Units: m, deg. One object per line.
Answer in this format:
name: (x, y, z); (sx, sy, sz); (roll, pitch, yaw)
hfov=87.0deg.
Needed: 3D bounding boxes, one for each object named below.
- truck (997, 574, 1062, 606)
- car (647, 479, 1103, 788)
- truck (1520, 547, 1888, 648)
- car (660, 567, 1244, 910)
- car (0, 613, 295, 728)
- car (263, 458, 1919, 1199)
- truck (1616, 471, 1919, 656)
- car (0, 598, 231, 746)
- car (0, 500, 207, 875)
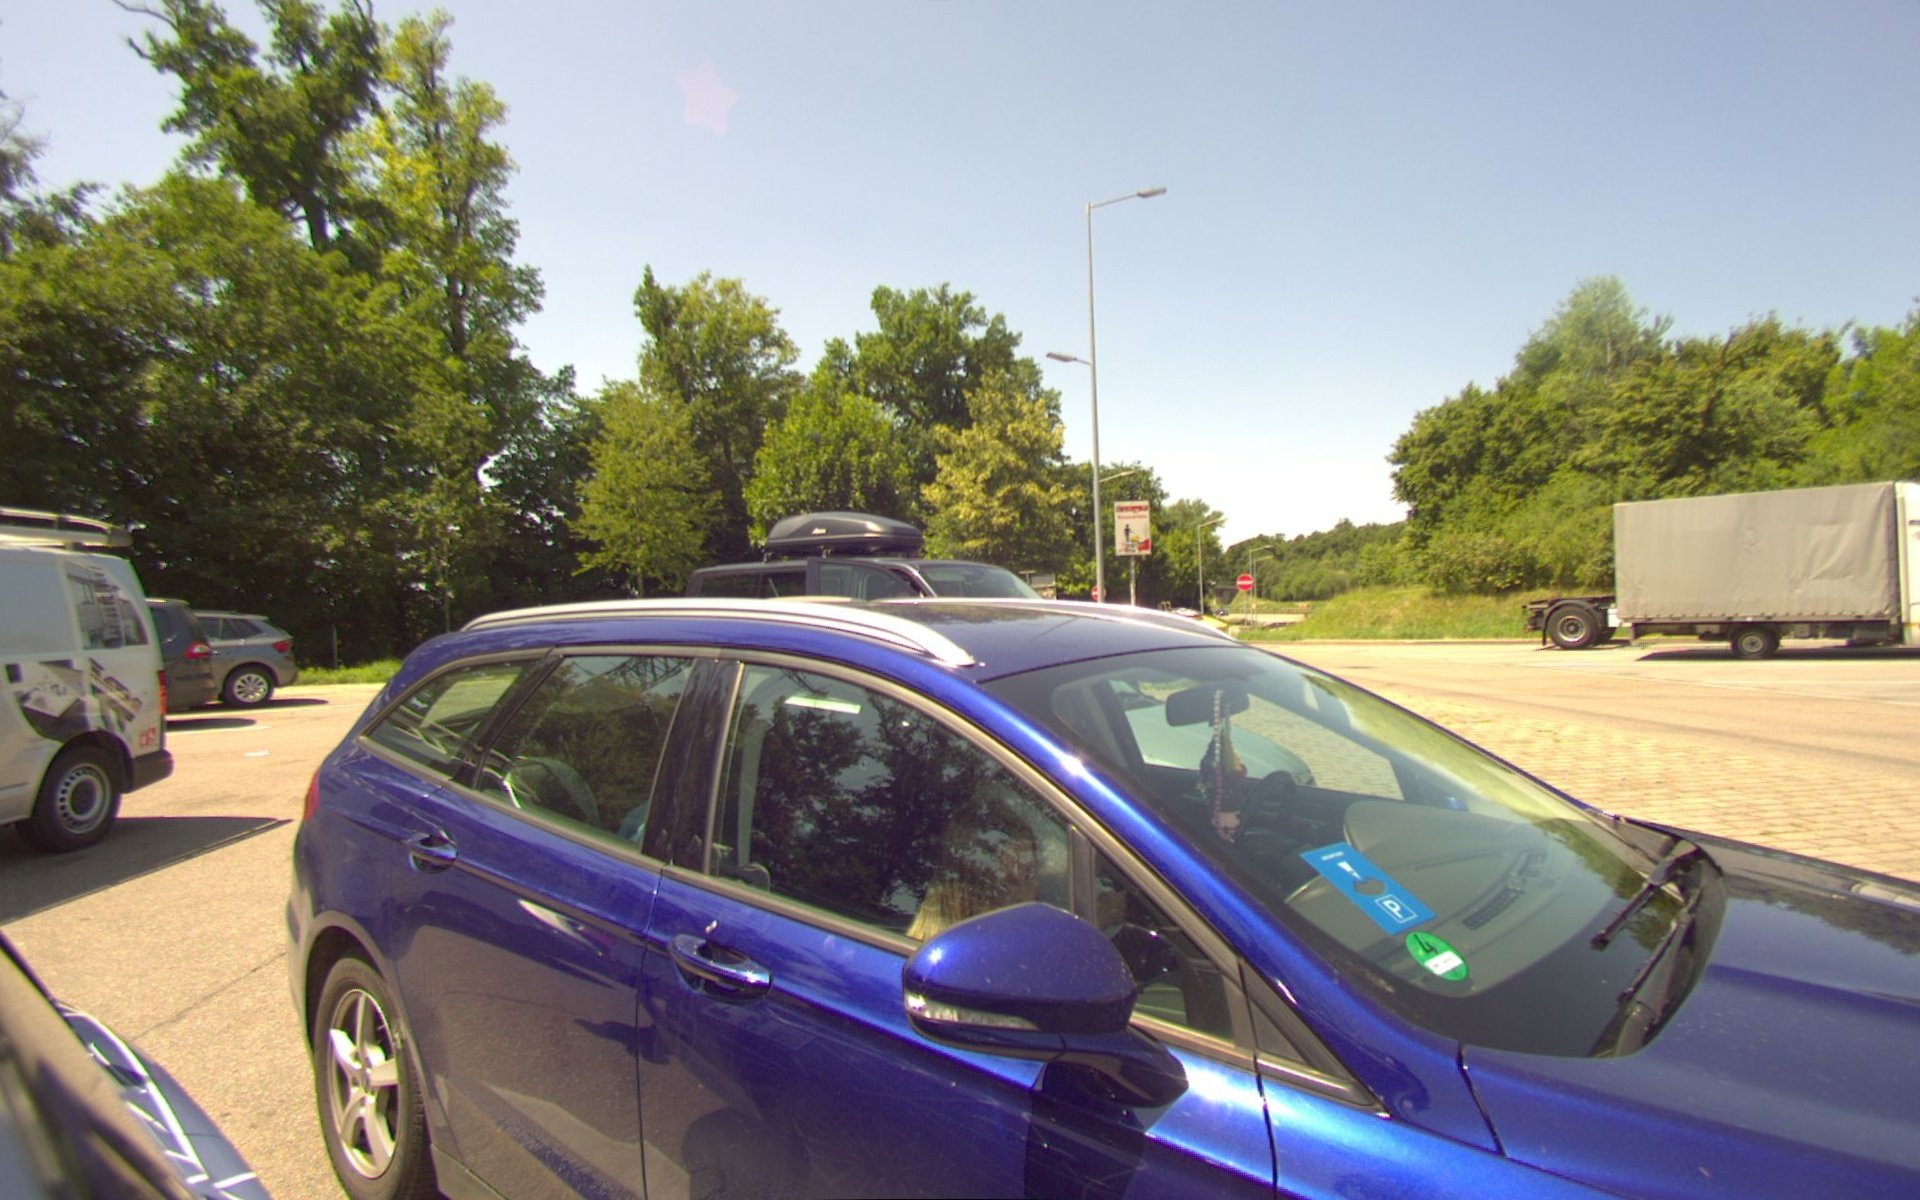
truck: (3.359, -0.462, 48.779); (2.866, 1.386, 1.158); (-2, -1, 22)
car: (-0.910, 0.315, 9.562); (4.076, 2.336, 1.767); (-2, -1, 35)
truck: (16.941, 0.041, 23.459); (6.613, 2.029, 1.973); (-2, -1, 41)
car: (-0.198, 0.593, 5.585); (3.112, 1.370, 1.326); (-2, -1, 41)
car: (-12.561, 0.998, 15.711); (3.535, 1.513, 1.708); (-1, 0, -42)
car: (0.242, 0.653, 2.071); (4.411, 1.429, 1.721); (-2, -1, 41)
truck: (16.649, -0.617, 18.751); (7.253, 3.175, 2.148); (-2, -1, 41)
car: (-11.565, 0.860, 12.604); (1.755, 1.701, 3.798); (-2, -1, 45)
car: (-6.253, 0.482, 4.713); (1.816, 2.121, 5.440); (0, -1, -5)
